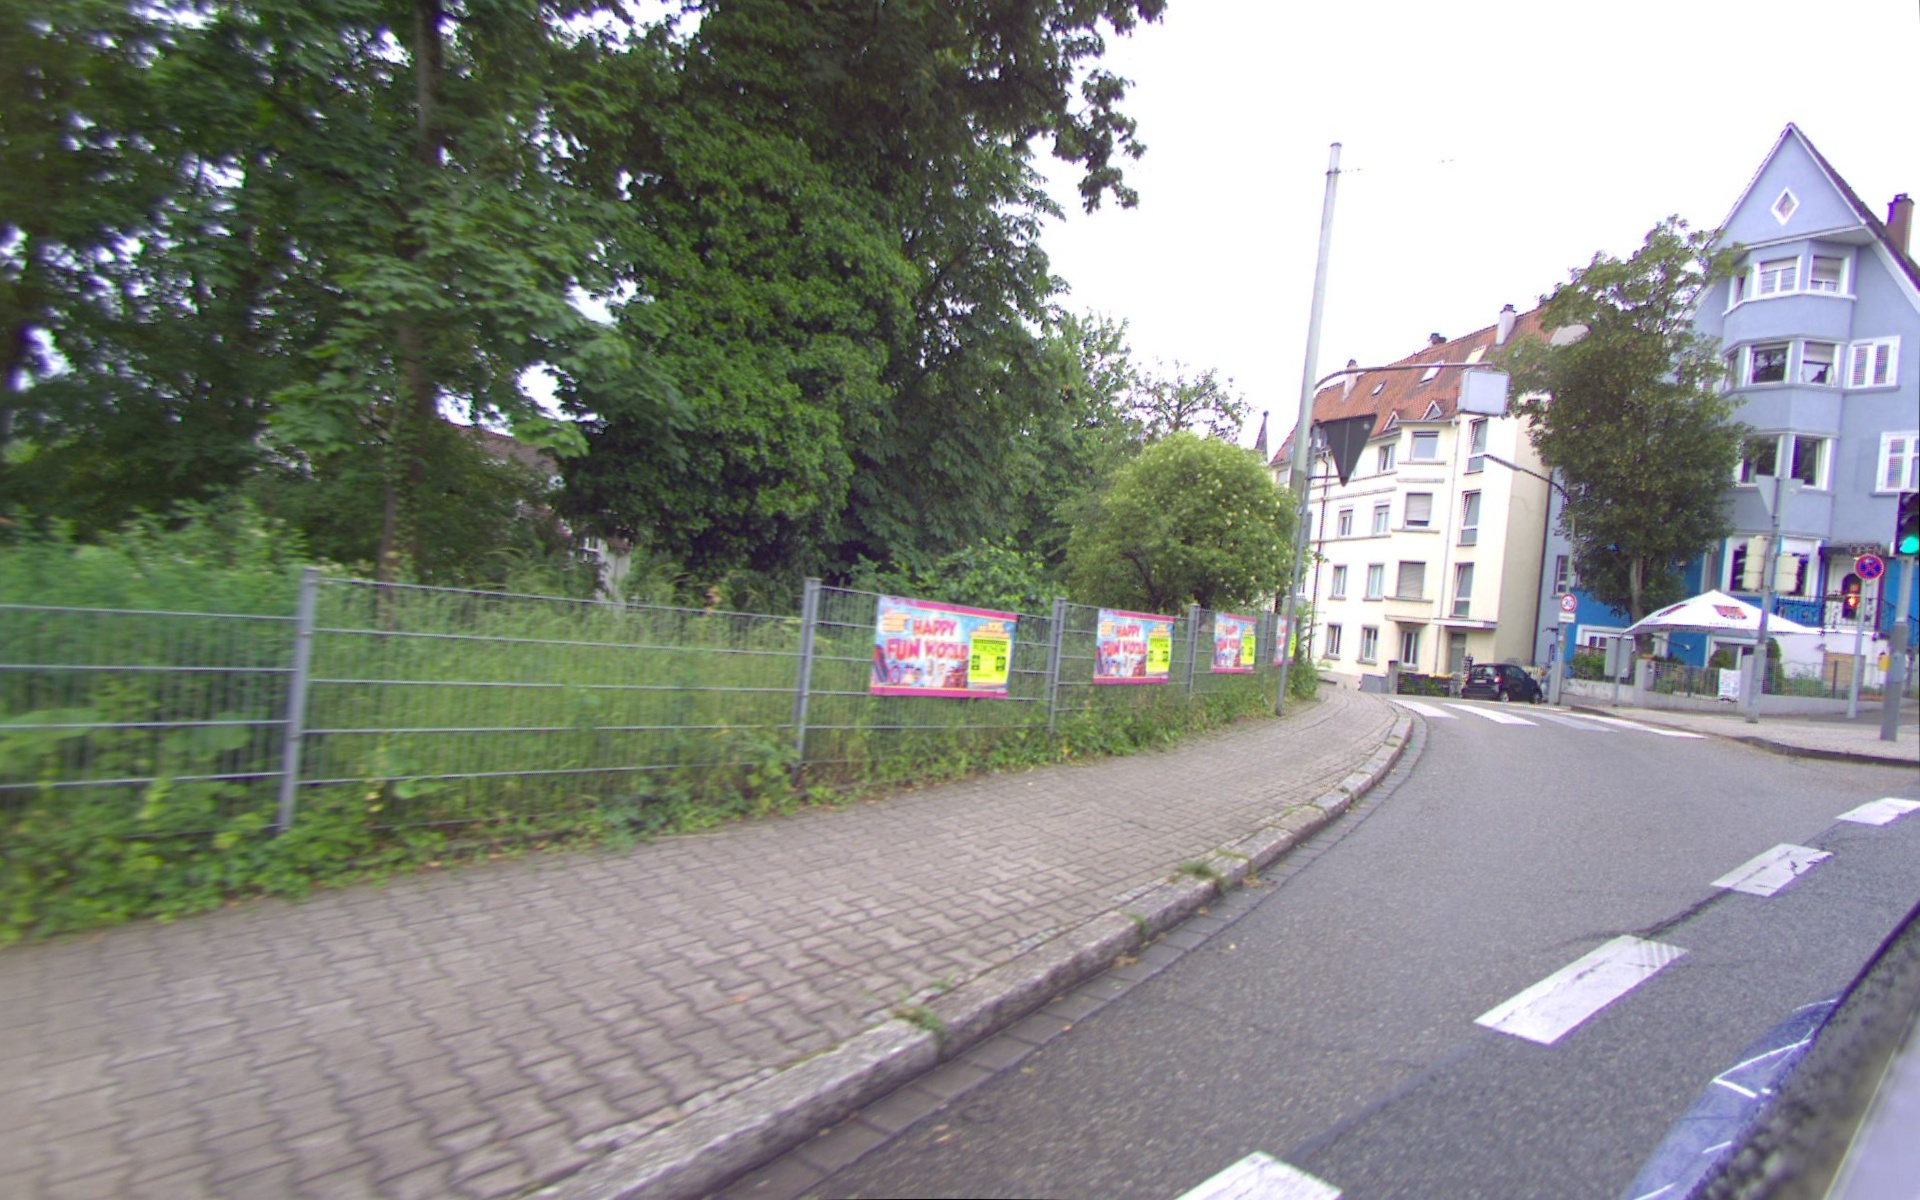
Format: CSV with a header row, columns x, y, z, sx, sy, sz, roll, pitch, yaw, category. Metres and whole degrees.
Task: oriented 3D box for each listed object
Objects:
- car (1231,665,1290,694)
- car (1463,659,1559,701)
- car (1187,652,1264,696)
x,y,z,sx,sy,sz,roll,pitch,yaw,category
17.704,4.668,59.595,2.991,1.423,1.307,7,-5,-12,car
20.856,3.032,38.313,3.077,1.518,1.642,3,-4,-25,car
16.304,4.589,62.249,4.091,2.264,1.942,5,-8,-7,car
